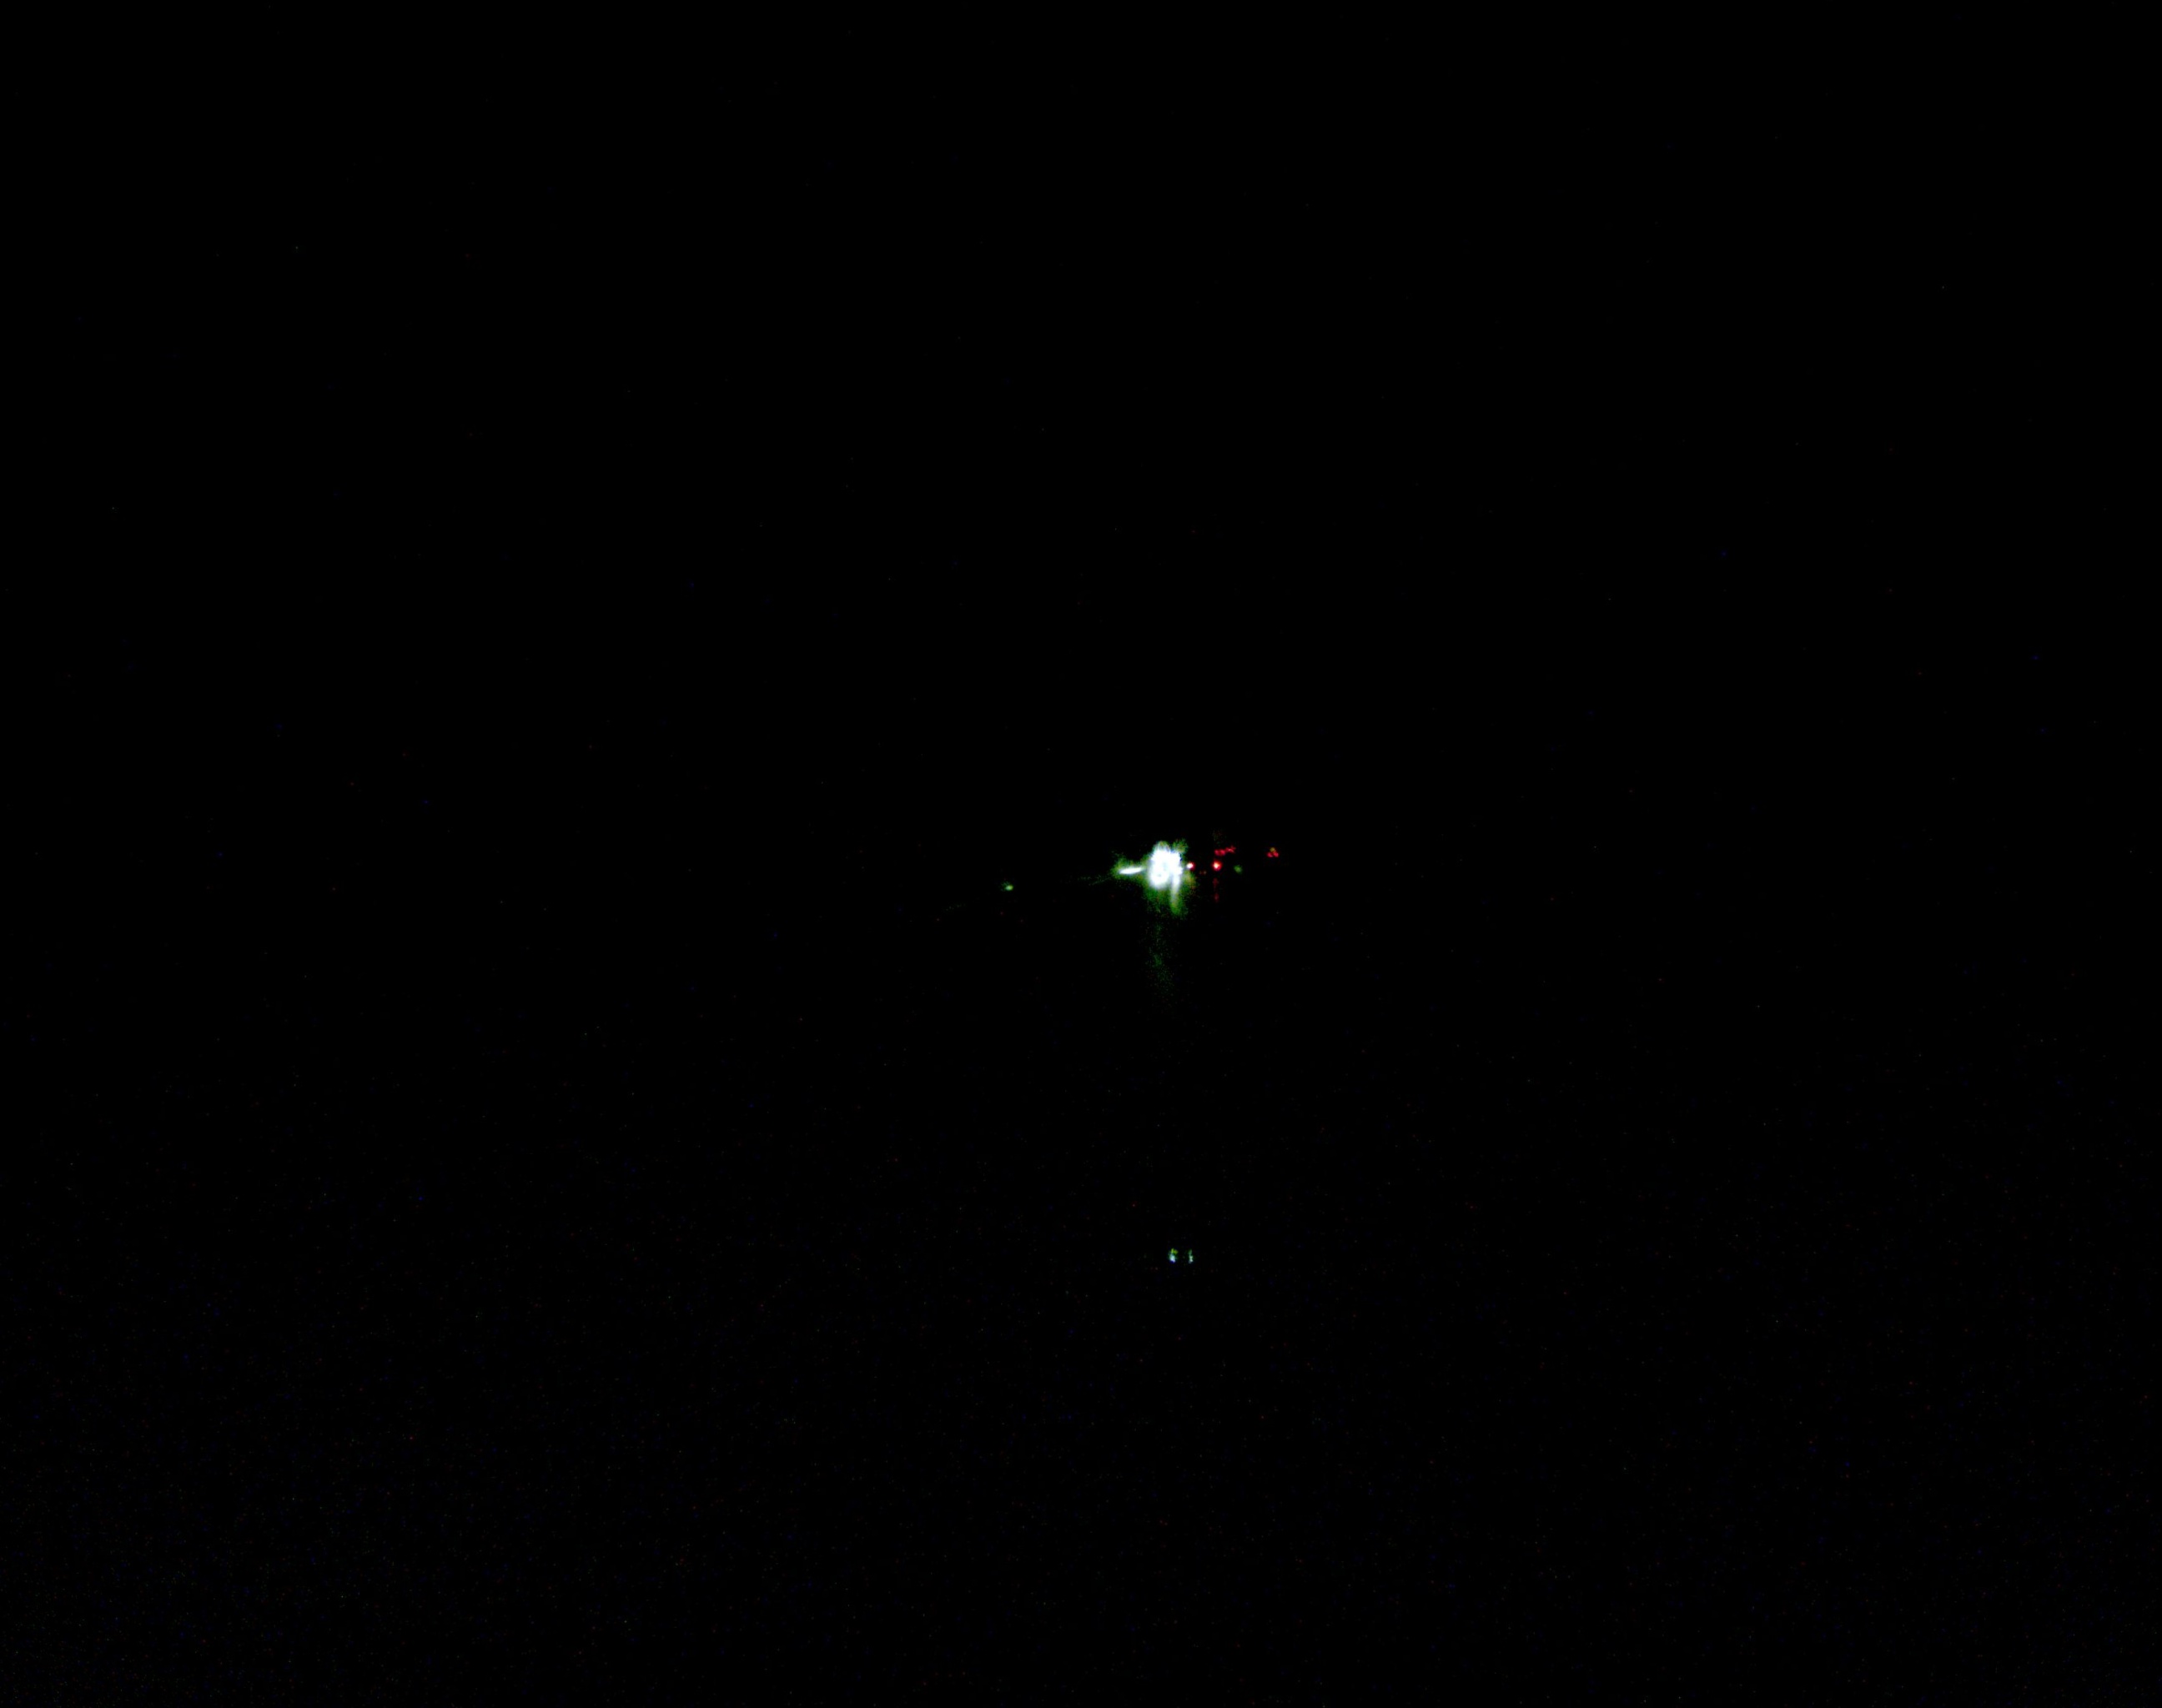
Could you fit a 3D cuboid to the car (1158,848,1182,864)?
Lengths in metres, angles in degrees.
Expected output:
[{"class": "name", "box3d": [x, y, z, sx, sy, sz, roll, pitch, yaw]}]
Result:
[{"class": "car", "box3d": [8.770, 0.213, 74.676, 1.806, 1.452, 4.279, -2, 0, 13]}]

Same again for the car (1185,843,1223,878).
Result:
[{"class": "car", "box3d": [7.349, 0.355, 45.617, 1.997, 1.915, 4.001, -2, 1, 6]}]

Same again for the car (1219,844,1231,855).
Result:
[{"class": "car", "box3d": [25.874, -0.851, 136.319, 1.997, 1.740, 4.261, -2, 1, 10]}]
